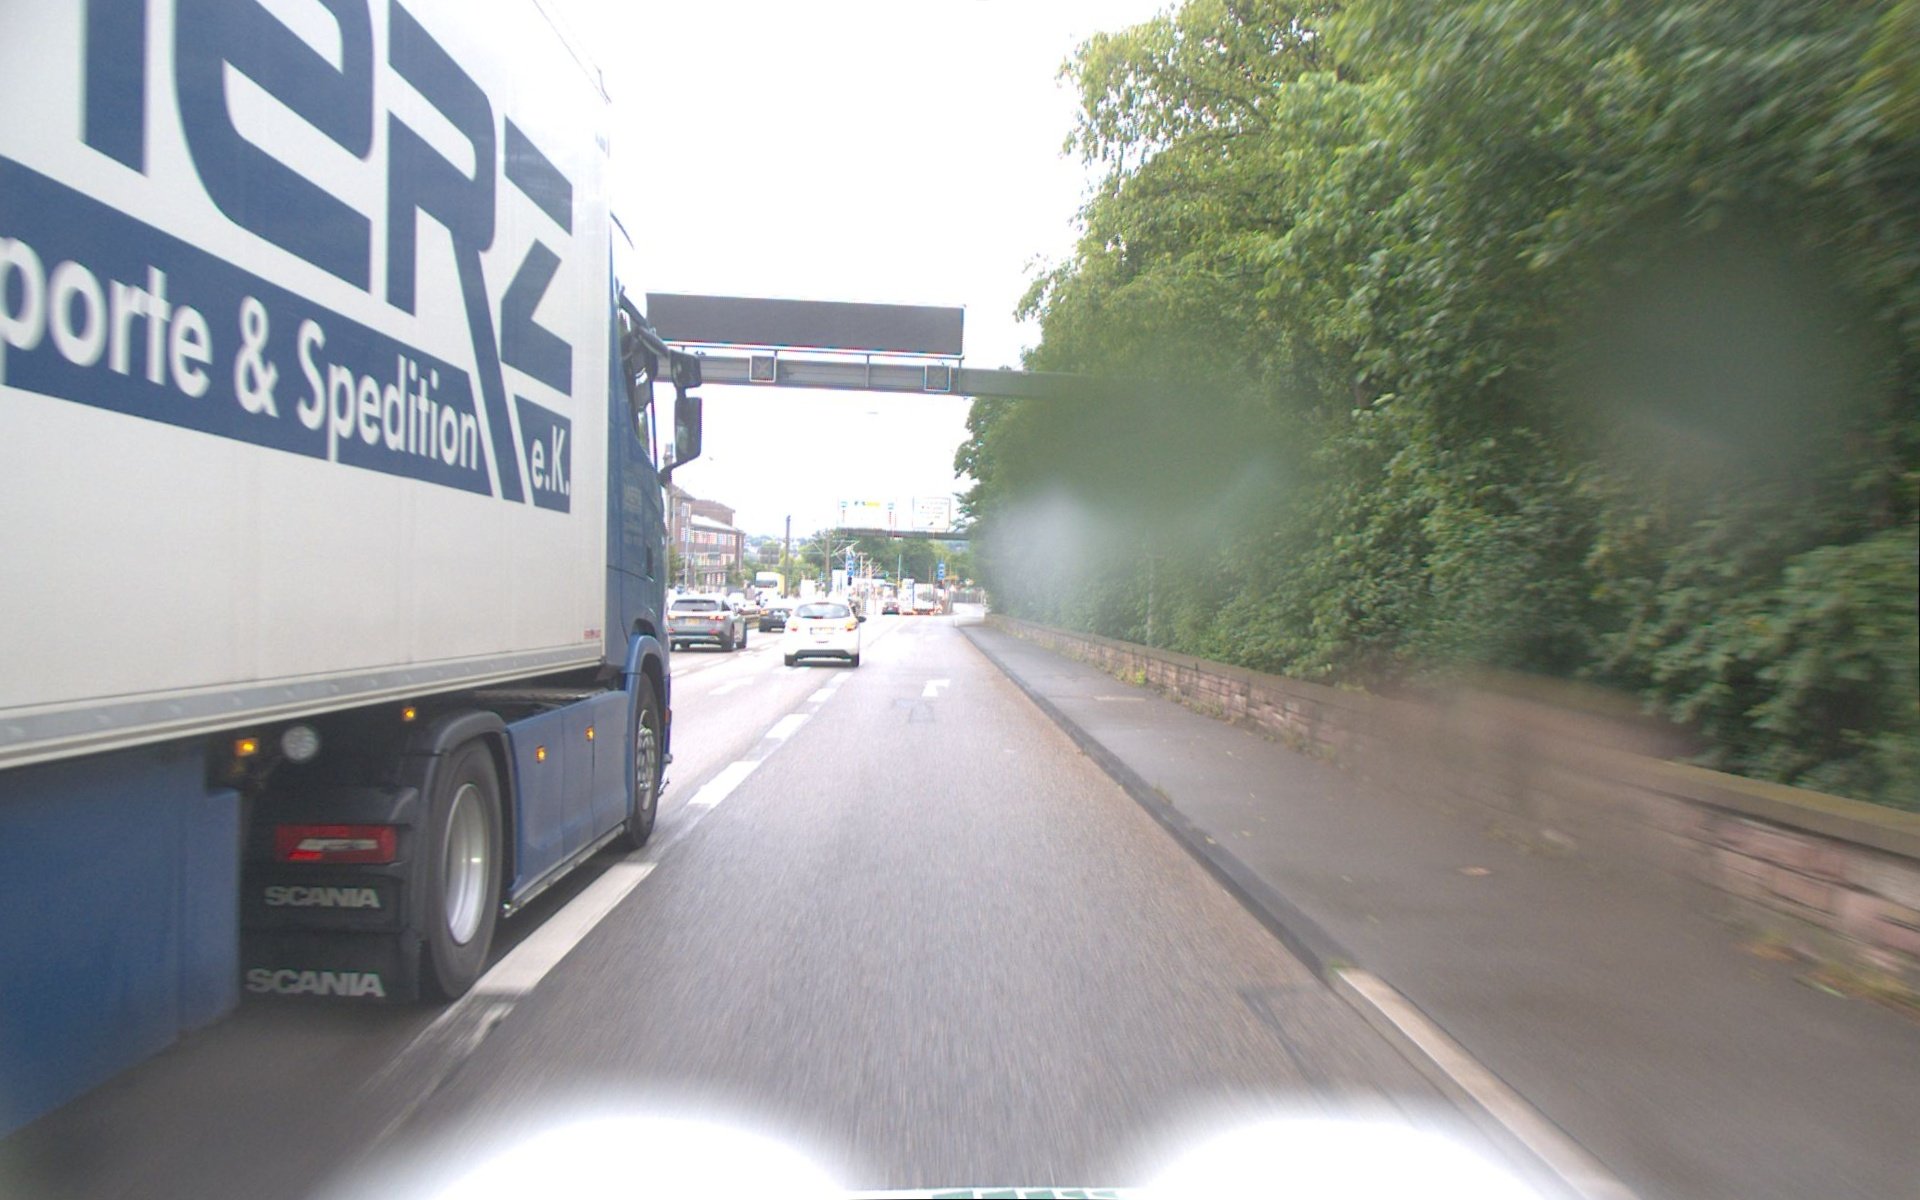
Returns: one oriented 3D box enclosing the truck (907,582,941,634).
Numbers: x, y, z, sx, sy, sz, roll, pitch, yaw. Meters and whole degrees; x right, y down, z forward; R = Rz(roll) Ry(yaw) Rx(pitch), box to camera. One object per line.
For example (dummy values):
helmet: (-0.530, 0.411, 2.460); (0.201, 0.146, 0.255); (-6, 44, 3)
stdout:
truck: (-4.315, 1.019, 199.508); (3.393, 5.496, 12.050); (3, -3, 1)

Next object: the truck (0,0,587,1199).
truck: (-2.920, -0.797, 0.962); (2.706, 4.270, 13.027); (1, 0, -1)

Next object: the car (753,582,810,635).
car: (-7.439, 0.315, 69.134); (1.685, 1.923, 3.539); (2, 3, 5)

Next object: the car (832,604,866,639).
car: (-7.363, 1.468, 109.889); (1.953, 2.049, 3.998); (3, -3, -1)

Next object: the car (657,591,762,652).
car: (-6.733, 0.561, 44.916); (1.782, 1.593, 4.095); (0, 0, 7)

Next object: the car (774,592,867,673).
car: (-3.146, 0.699, 37.482); (1.917, 1.513, 3.997); (3, 2, -5)

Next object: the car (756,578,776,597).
car: (-24.247, -1.603, 206.830); (1.953, 2.049, 3.998); (3, -3, -1)

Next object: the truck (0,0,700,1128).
truck: (-3.067, -0.741, 7.834); (2.706, 4.270, 6.782); (1, 0, -1)

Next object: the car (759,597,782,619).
car: (-20.363, 0.838, 177.920); (1.953, 2.049, 3.998); (3, -3, -1)

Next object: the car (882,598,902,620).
car: (-7.129, 1.002, 173.923); (1.953, 2.049, 3.998); (3, -3, -1)
